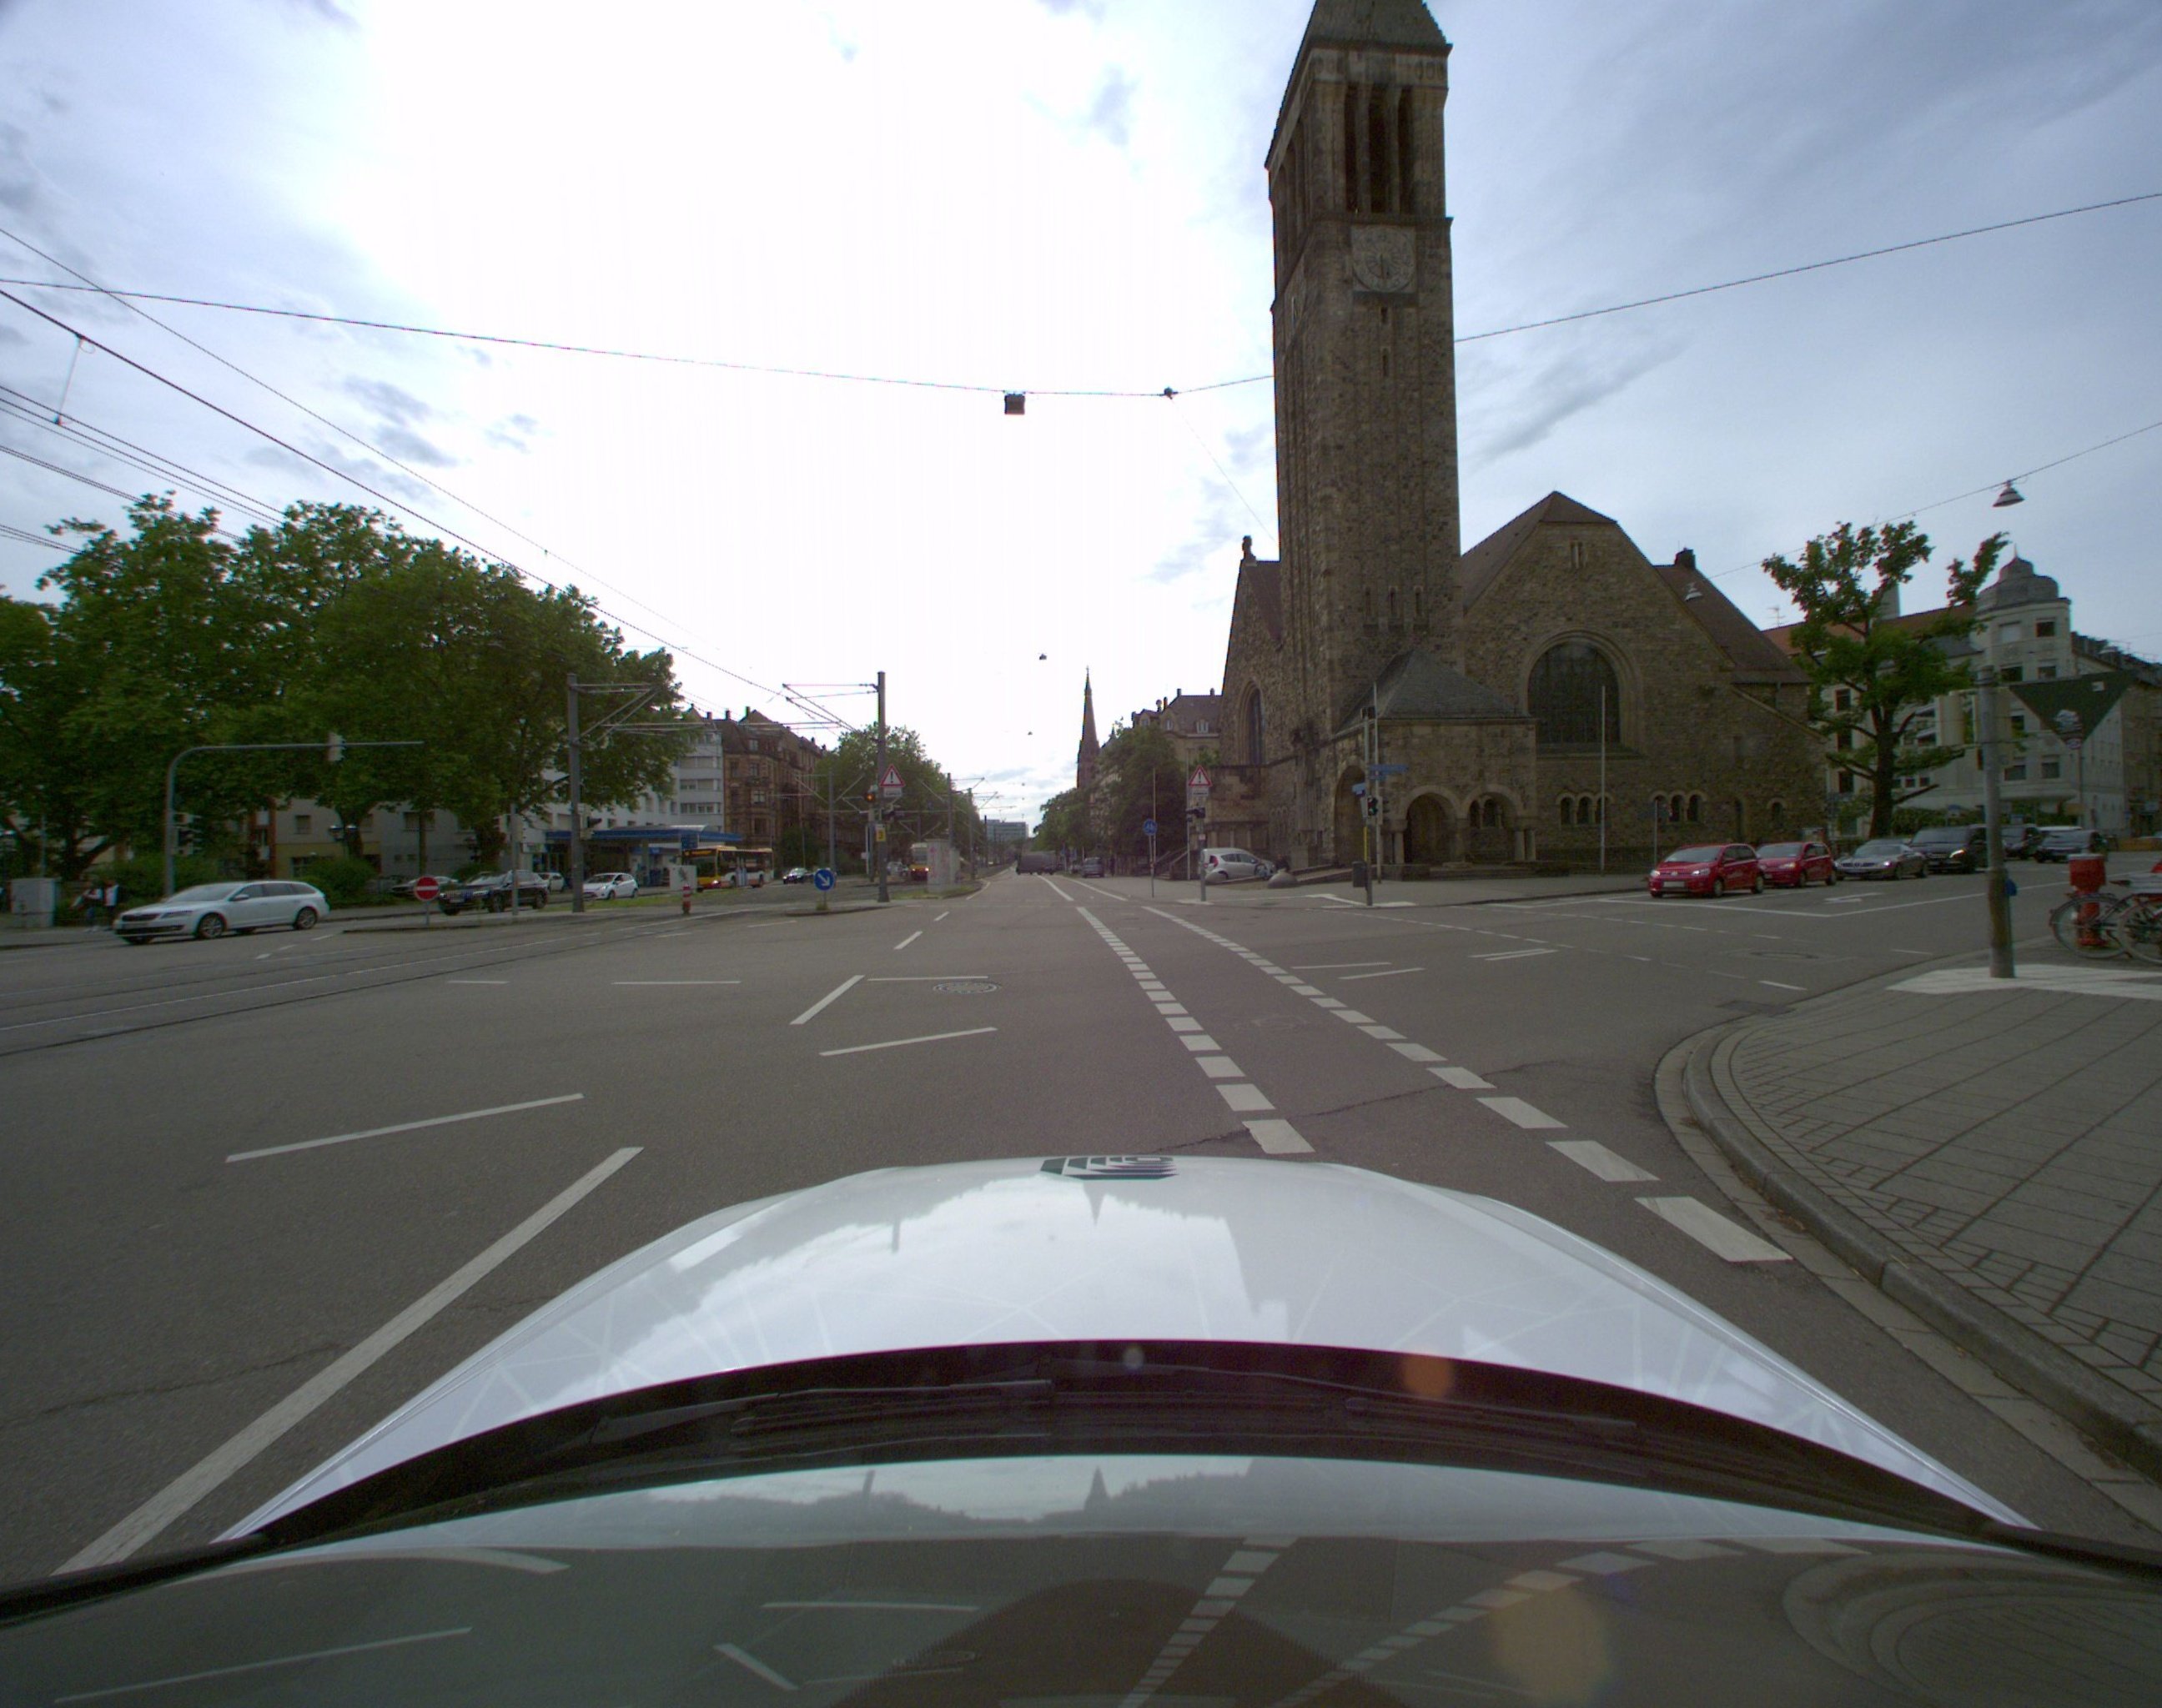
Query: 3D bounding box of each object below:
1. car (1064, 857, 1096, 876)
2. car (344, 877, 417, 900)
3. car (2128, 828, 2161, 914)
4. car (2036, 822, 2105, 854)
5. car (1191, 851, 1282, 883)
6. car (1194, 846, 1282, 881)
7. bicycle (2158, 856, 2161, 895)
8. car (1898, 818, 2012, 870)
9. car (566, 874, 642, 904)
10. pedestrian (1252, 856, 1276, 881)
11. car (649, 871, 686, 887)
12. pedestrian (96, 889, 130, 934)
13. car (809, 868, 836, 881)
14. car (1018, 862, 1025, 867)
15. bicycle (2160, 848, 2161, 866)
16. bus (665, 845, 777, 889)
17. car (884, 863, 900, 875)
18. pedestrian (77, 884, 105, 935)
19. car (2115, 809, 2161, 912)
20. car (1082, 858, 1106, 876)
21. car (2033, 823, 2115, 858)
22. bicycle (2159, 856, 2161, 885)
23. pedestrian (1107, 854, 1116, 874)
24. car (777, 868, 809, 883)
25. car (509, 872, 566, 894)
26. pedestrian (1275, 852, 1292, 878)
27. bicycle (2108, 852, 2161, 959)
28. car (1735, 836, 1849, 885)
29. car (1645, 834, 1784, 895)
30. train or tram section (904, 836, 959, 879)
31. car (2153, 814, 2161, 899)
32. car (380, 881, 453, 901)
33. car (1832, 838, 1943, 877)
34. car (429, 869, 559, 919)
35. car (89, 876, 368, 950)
[{"bbox_3d":[-0.149,1.165,76.945,2.202,1.745,5.018,-1,0,-9],"label":"car"},{"bbox_3d":[-47.356,2.312,55.157,1.699,1.358,3.885,0,0,-4],"label":"car"},{"bbox_3d":[20.481,0.169,13.342,3.546,1.509,1.858,-4,-4,19],"label":"car"},{"bbox_3d":[62.045,-1.010,51.057,4.559,1.939,1.833,-1,0,-28],"label":"car"},{"bbox_3d":[8.015,0.660,42.156,4.341,1.636,1.660,0,-1,-5],"label":"car"},{"bbox_3d":[8.764,0.516,45.609,4.602,1.881,1.660,0,-1,-5],"label":"car"},{"bbox_3d":[14.157,0.494,9.561,0.477,1.039,1.722,0,-4,-30],"label":"bicycle"},{"bbox_3d":[35.107,-0.434,32.695,5.298,1.954,1.900,-1,0,-29],"label":"car"},{"bbox_3d":[-23.988,1.725,41.138,1.699,1.398,3.885,0,0,-4],"label":"car"},{"bbox_3d":[8.705,0.690,38.852,0.735,1.191,1.491,0,0,-4],"label":"pedestrian"},{"bbox_3d":[-36.946,2.189,72.871,1.699,1.358,3.399,0,0,-4],"label":"car"},{"bbox_3d":[-29.428,1.728,24.759,0.455,1.326,0.468,-1,-1,-11],"label":"pedestrian"},{"bbox_3d":[-26.662,2.075,84.090,1.699,1.221,3.885,0,0,-4],"label":"car"},{"bbox_3d":[-18.490,3.317,253.046,1.801,1.341,3.993,-1,0,-5],"label":"car"},{"bbox_3d":[14.542,0.456,9.926,0.477,1.173,1.557,0,-4,-30],"label":"bicycle"},{"bbox_3d":[-25.689,0.857,59.122,3.275,2.856,12.364,0,0,-3],"label":"bus"},{"bbox_3d":[-28.735,2.311,123.821,1.699,1.712,3.885,0,0,-4],"label":"car"},{"bbox_3d":[-29.828,1.669,24.544,0.361,1.479,0.372,-1,-1,-11],"label":"pedestrian"},{"bbox_3d":[18.099,0.015,11.603,3.793,1.561,1.802,-2,-2,14],"label":"car"},{"bbox_3d":[1.039,1.031,66.926,1.699,1.459,3.885,0,0,-4],"label":"car"},{"bbox_3d":[49.946,-0.685,40.946,4.561,1.684,1.833,-1,0,-29],"label":"car"},{"bbox_3d":[13.637,0.490,9.158,0.477,1.039,1.722,0,-4,-30],"label":"bicycle"},{"bbox_3d":[2.564,0.848,69.402,0.773,1.647,0.799,0,-1,2],"label":"pedestrian"},{"bbox_3d":[-26.682,1.991,75.549,1.699,1.358,3.885,0,0,-4],"label":"car"},{"bbox_3d":[-36.467,1.941,54.761,1.699,1.358,3.399,0,0,-4],"label":"car"},{"bbox_3d":[9.674,0.536,38.947,0.732,1.228,1.066,0,-1,11],"label":"pedestrian"},{"bbox_3d":[11.853,0.519,8.327,0.477,1.127,1.557,0,-4,-29],"label":"bicycle"},{"bbox_3d":[22.772,0.212,26.077,3.729,1.457,1.591,-1,-3,-30],"label":"car"},{"bbox_3d":[17.809,0.287,22.876,3.905,1.528,1.639,-2,-2,-29],"label":"car"},{"bbox_3d":[-15.306,0.356,84.986,3.634,4.093,15.023,0,0,-3],"label":"train or tram section"},{"bbox_3d":[23.087,-0.055,14.611,4.171,1.683,1.927,-3,-3,27],"label":"car"},{"bbox_3d":[-44.396,2.457,54.523,1.725,1.174,4.003,-2,0,-4],"label":"car"},{"bbox_3d":[29.046,0.122,29.316,4.052,1.287,1.694,-1,-3,-29],"label":"car"},{"bbox_3d":[-23.334,1.518,32.673,1.699,1.783,5.143,0,0,-3],"label":"car"},{"bbox_3d":[-22.809,1.483,22.261,1.837,1.525,5.694,-3,0,-4],"label":"car"}]
